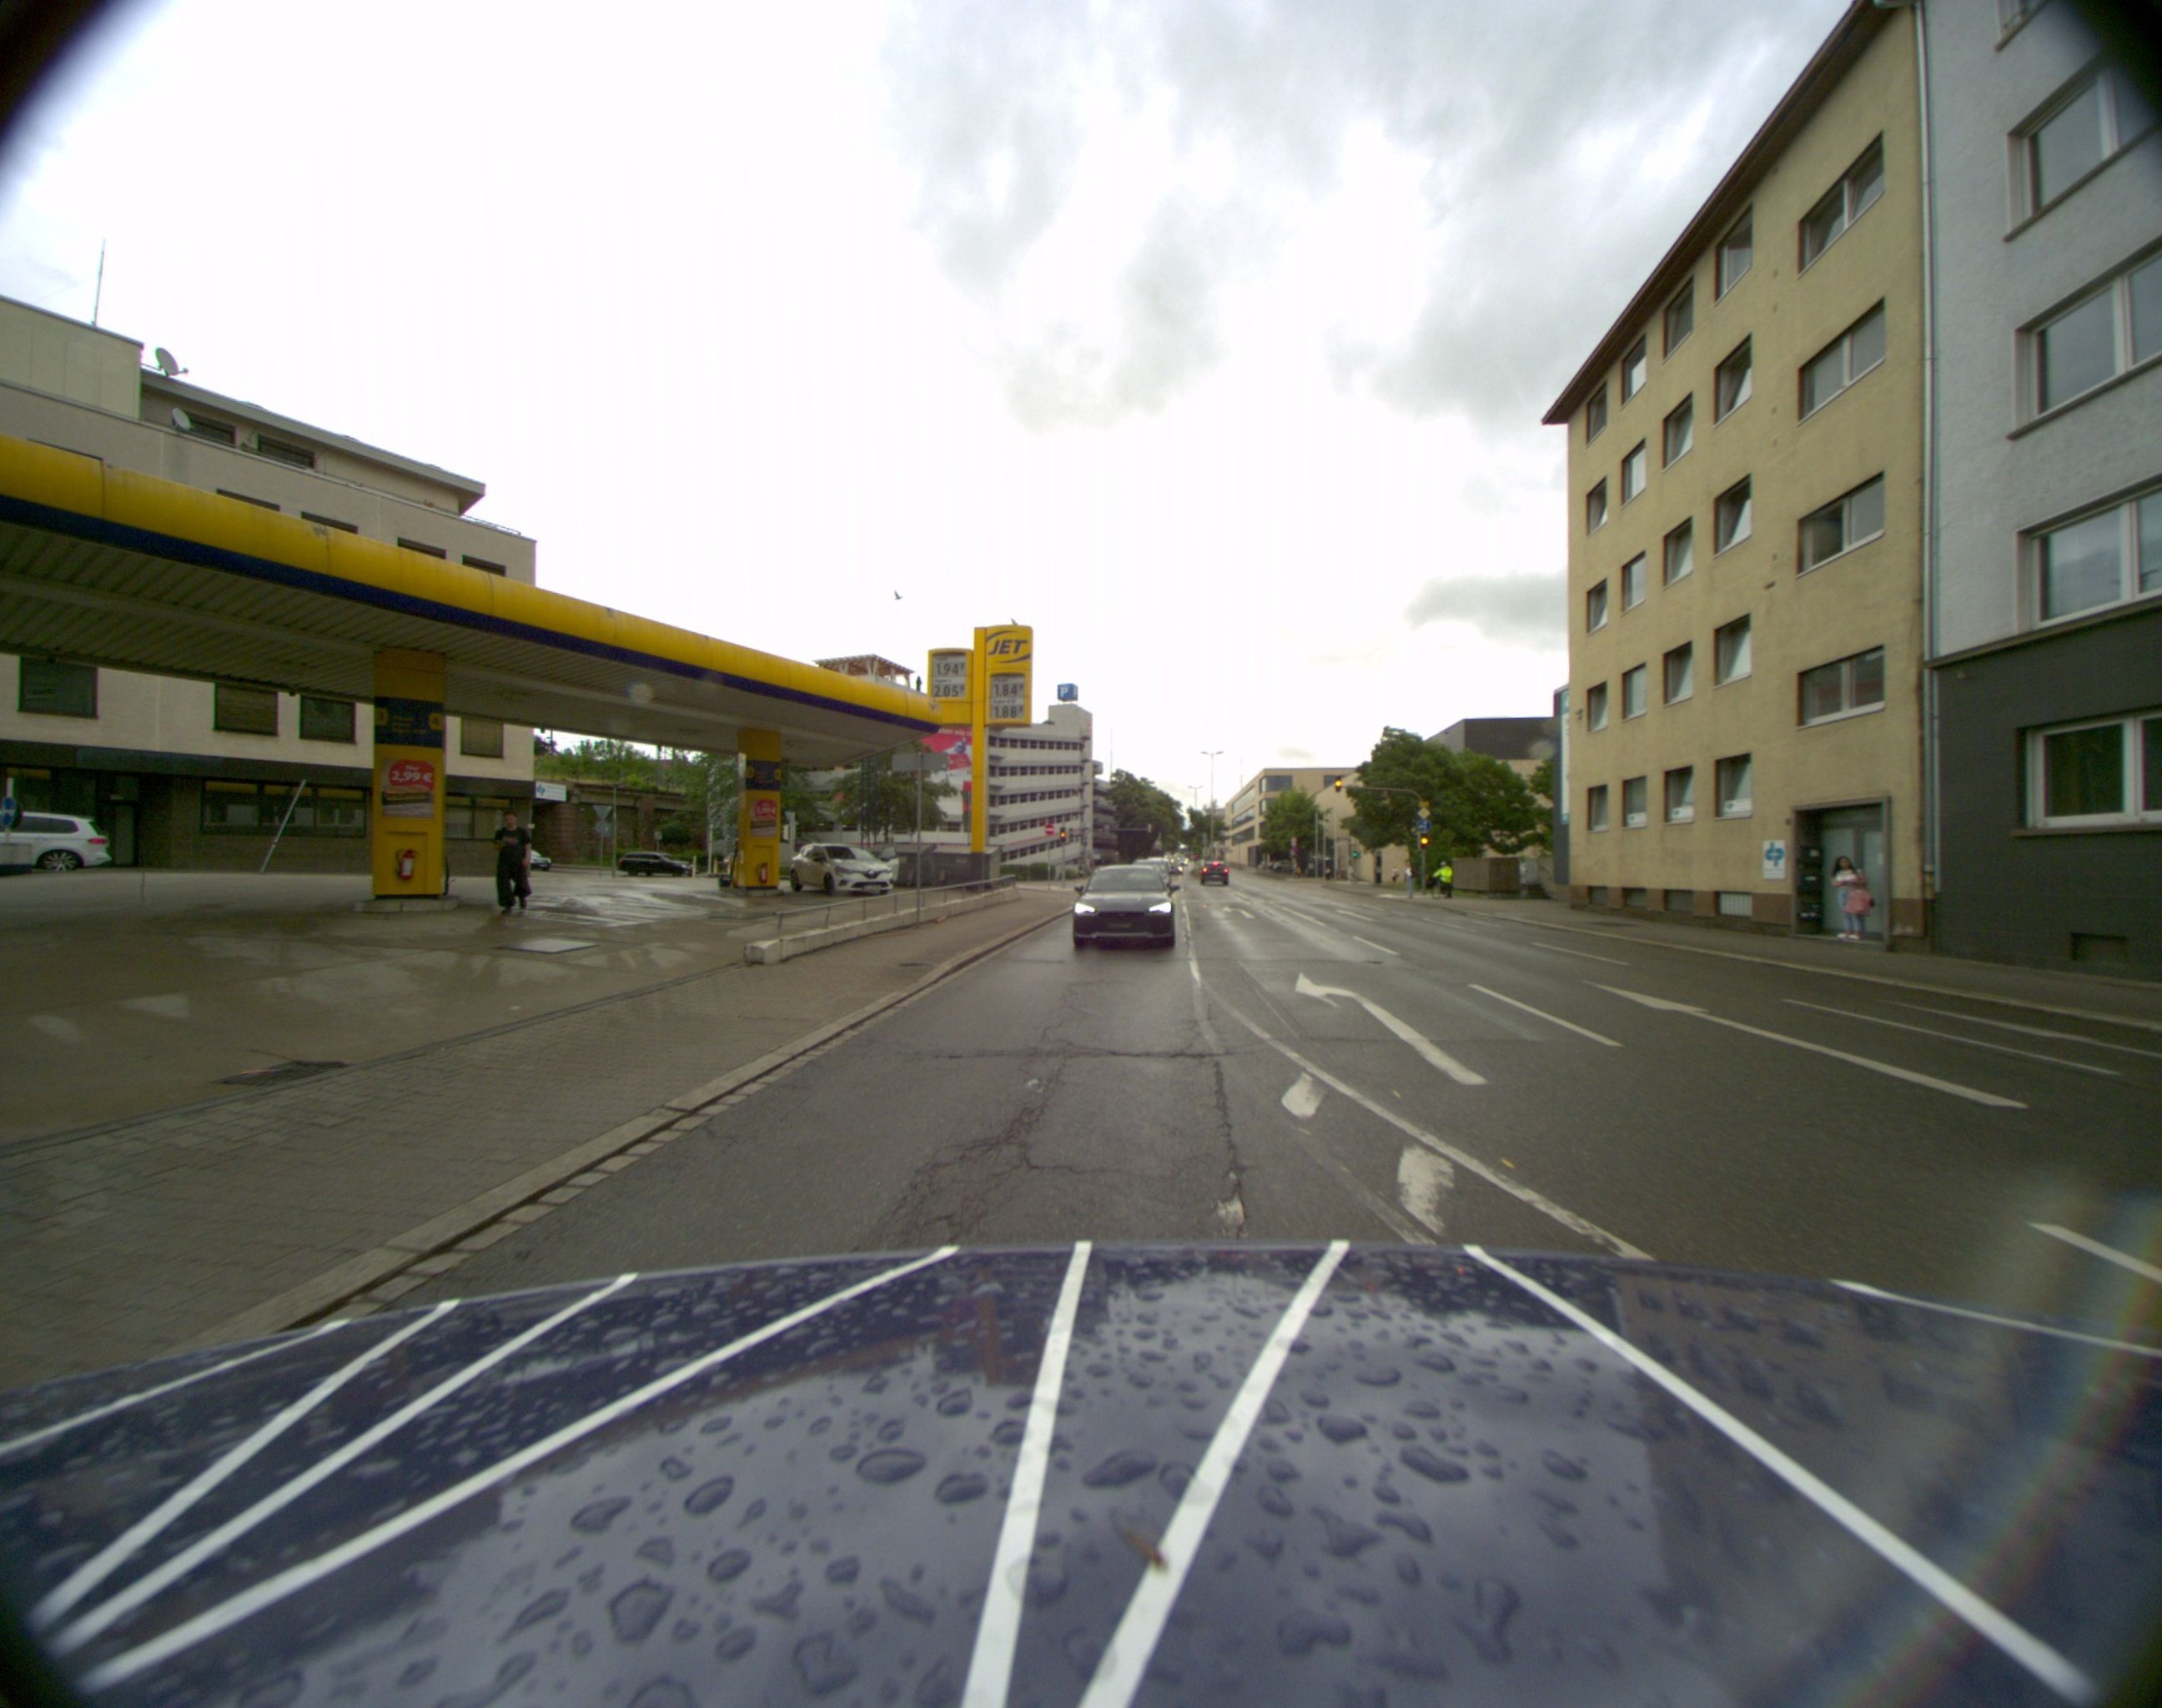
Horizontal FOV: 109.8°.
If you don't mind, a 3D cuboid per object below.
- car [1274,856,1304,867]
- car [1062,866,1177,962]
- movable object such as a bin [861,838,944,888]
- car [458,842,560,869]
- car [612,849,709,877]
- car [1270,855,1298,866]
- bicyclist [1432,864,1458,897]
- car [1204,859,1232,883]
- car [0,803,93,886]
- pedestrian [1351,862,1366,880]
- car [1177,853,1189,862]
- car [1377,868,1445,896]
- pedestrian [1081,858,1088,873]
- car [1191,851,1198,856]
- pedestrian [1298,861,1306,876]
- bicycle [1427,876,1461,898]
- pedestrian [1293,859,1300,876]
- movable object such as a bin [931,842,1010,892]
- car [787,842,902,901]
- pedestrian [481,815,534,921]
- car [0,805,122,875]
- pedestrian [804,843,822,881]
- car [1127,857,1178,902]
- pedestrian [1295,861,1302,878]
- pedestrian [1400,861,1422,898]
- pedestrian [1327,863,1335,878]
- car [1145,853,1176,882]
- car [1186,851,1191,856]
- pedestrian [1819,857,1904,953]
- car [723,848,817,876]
[{"bbox_3d":[30.288,1.126,110.789,3.993,1.575,2.002,-1,0,11],"label":"car"},{"bbox_3d":[0.772,0.965,13.969,1.738,1.380,4.584,-1,0,5],"label":"car"},{"bbox_3d":[-5.946,0.304,25.467,2.159,1.546,1.774,2,0,8],"label":"movable object such as a bin"},{"bbox_3d":[-36.664,0.106,48.756,5.035,1.622,2.000,-1,0,2],"label":"car"},{"bbox_3d":[-26.612,0.544,48.211,5.035,1.622,2.000,-1,0,2],"label":"car"},{"bbox_3d":[30.257,0.967,113.417,3.993,1.575,2.002,-1,0,11],"label":"car"},{"bbox_3d":[16.123,1.159,33.687,0.843,1.433,0.813,-1,0,9],"label":"bicyclist"},{"bbox_3d":[9.551,1.162,53.226,1.811,1.585,4.298,0,0,8],"label":"car"},{"bbox_3d":[-25.353,-0.183,16.557,1.994,1.854,4.589,-1,0,36],"label":"car"},{"bbox_3d":[26.031,1.579,71.176,1.112,1.690,0.808,-1,0,5],"label":"pedestrian"},{"bbox_3d":[20.279,0.702,151.077,1.998,1.772,4.002,-1,0,5],"label":"car"},{"bbox_3d":[27.782,2.341,64.108,4.786,1.914,2.001,4,0,5],"label":"car"},{"bbox_3d":[0.423,1.257,84.419,0.583,1.650,0.520,3,2,24],"label":"pedestrian"},{"bbox_3d":[30.406,-0.113,203.878,1.674,1.461,4.303,2,0,6],"label":"car"},{"bbox_3d":[23.094,1.545,79.409,0.595,1.507,0.692,-1,0,6],"label":"pedestrian"},{"bbox_3d":[16.119,1.444,33.809,0.886,0.902,1.868,-1,0,10],"label":"bicycle"},{"bbox_3d":[22.990,1.424,80.991,0.595,1.721,0.692,-1,0,3],"label":"pedestrian"},{"bbox_3d":[-3.620,0.404,25.199,2.159,1.565,1.774,1,0,8],"label":"movable object such as a bin"},{"bbox_3d":[-6.809,0.444,21.598,1.750,1.434,3.988,1,1,-39],"label":"car"},{"bbox_3d":[-9.845,0.235,13.057,0.661,1.762,0.528,2,2,-35],"label":"pedestrian"},{"bbox_3d":[-28.519,-0.387,19.670,1.994,1.715,4.411,-2,-4,35],"label":"car"},{"bbox_3d":[-10.718,0.310,30.395,0.576,1.506,0.478,-1,0,-33],"label":"pedestrian"},{"bbox_3d":[2.901,0.962,30.262,1.845,1.646,4.002,-1,0,7],"label":"car"},{"bbox_3d":[22.407,1.574,78.228,0.595,1.761,0.692,-1,0,6],"label":"pedestrian"},{"bbox_3d":[15.359,1.187,35.396,0.718,1.679,0.812,-1,0,9],"label":"pedestrian"},{"bbox_3d":[24.599,1.620,74.846,0.622,1.368,0.475,-1,0,8],"label":"pedestrian"},{"bbox_3d":[5.391,0.894,51.239,1.803,1.817,3.952,-2,-1,9],"label":"car"},{"bbox_3d":[36.715,-0.231,259.326,1.674,1.598,4.303,3,0,6],"label":"car"},{"bbox_3d":[14.203,0.912,13.856,0.718,1.679,0.812,-1,0,9],"label":"pedestrian"},{"bbox_3d":[-19.595,0.530,48.002,5.035,1.622,2.000,-1,0,2],"label":"car"}]
